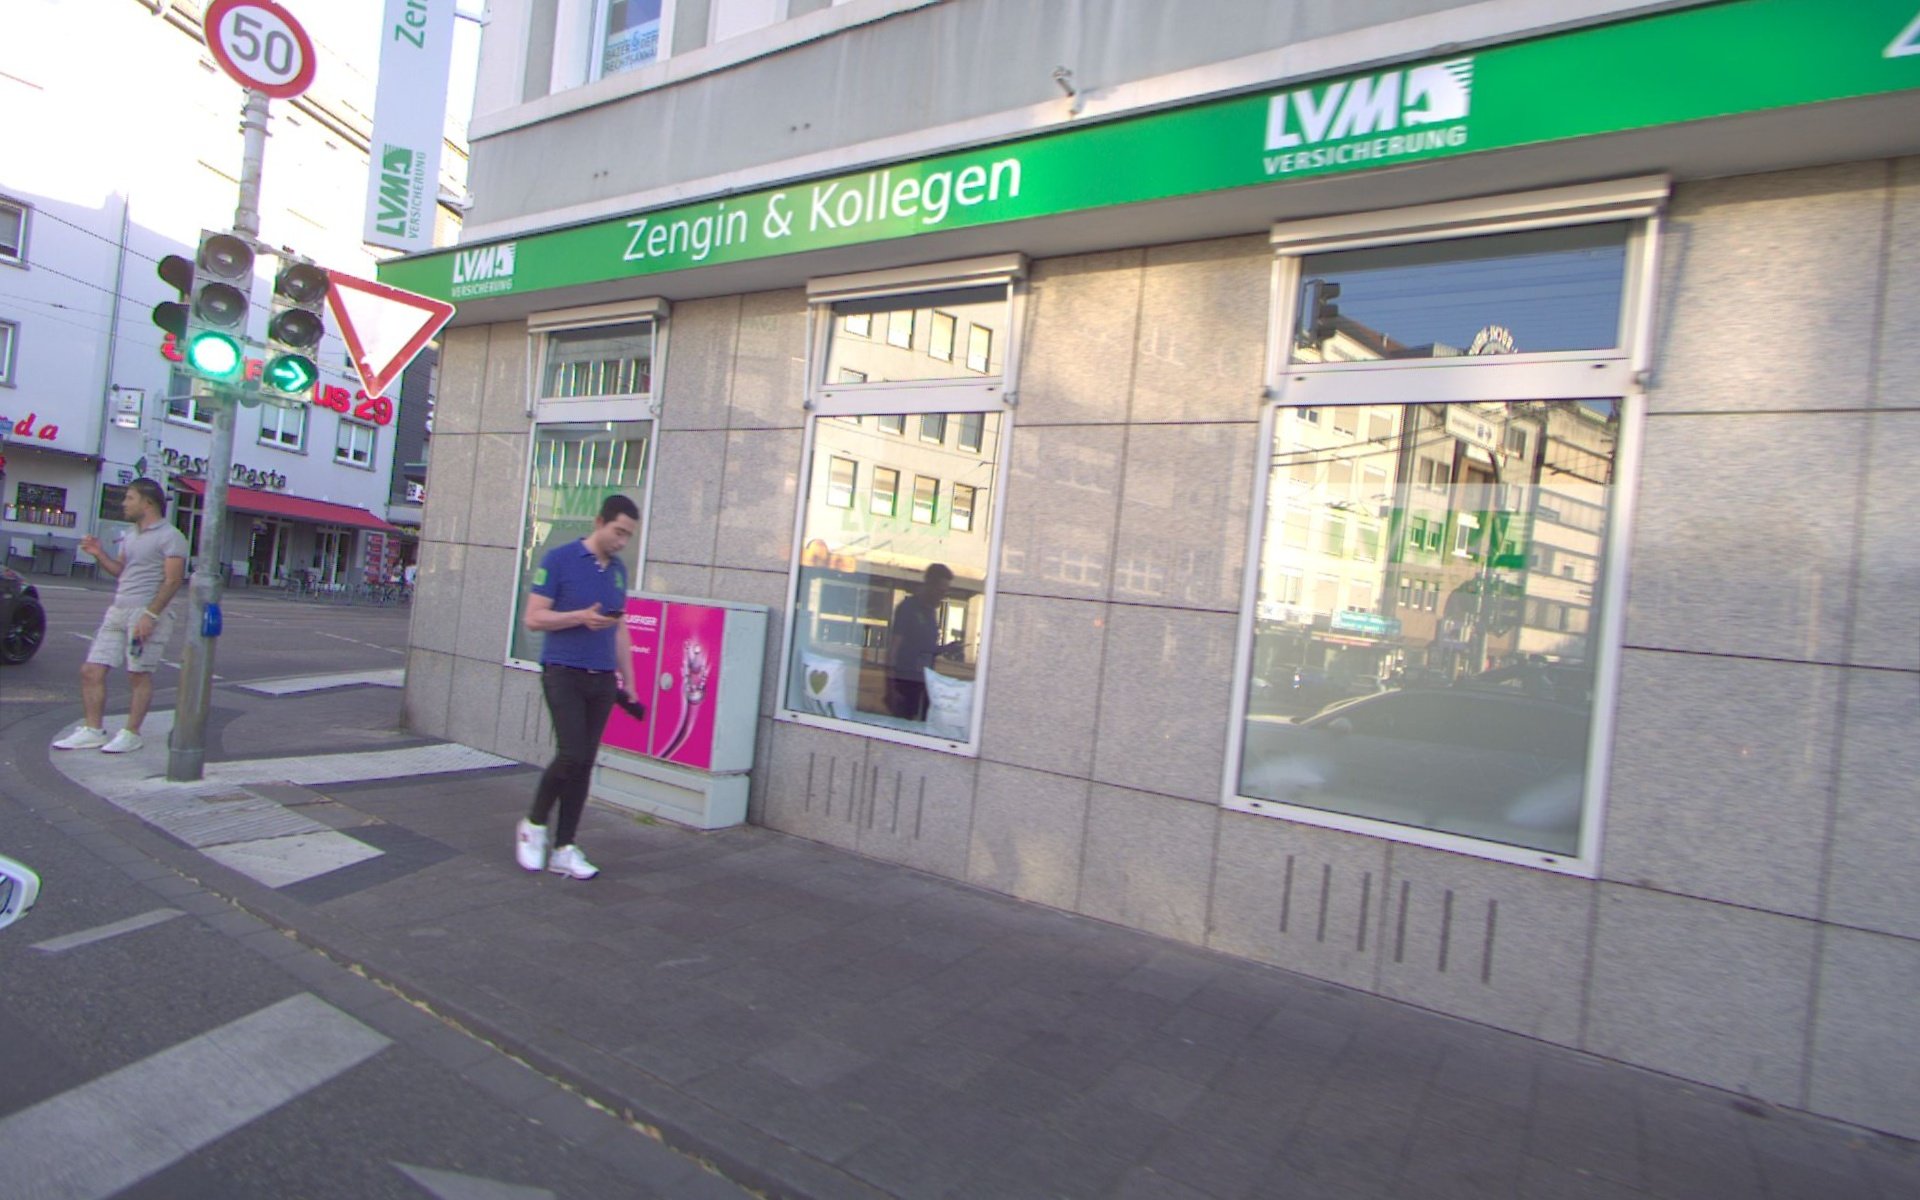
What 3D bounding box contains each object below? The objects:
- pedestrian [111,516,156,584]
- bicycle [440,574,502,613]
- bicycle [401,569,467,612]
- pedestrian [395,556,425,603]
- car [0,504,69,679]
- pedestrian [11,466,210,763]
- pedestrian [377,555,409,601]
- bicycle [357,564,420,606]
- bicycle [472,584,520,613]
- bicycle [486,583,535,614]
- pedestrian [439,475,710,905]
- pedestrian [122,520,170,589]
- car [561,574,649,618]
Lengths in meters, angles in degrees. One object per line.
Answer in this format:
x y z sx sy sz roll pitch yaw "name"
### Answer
-23.025 -1.389 28.032 0.627 1.800 0.600 6 0 23 "pedestrian"
-19.004 -0.252 39.103 2.078 1.237 0.554 7 -2 9 "bicycle"
-19.349 -0.341 37.003 2.079 1.238 0.553 8 0 9 "bicycle"
-21.210 -0.794 38.785 0.610 1.720 0.603 7 0 9 "pedestrian"
-8.722 -0.167 7.513 1.938 1.515 4.435 8 -2 -28 "car"
-5.413 0.088 6.423 0.682 1.763 0.653 6 0 31 "pedestrian"
-21.994 -0.856 39.008 0.671 1.681 0.625 7 0 9 "pedestrian"
-20.283 -0.531 35.710 1.861 1.225 0.553 8 0 9 "bicycle"
-19.332 -0.067 41.958 1.776 0.923 0.456 9 1 9 "bicycle"
-19.122 -0.072 42.795 1.802 1.060 0.489 9 1 9 "bicycle"
-1.850 0.381 4.845 0.866 1.850 0.691 6 0 33 "pedestrian"
-22.418 -1.246 27.711 0.627 1.765 0.668 6 -1 24 "pedestrian"
-17.660 -0.159 50.260 1.900 1.694 4.650 7 -1 11 "car"
